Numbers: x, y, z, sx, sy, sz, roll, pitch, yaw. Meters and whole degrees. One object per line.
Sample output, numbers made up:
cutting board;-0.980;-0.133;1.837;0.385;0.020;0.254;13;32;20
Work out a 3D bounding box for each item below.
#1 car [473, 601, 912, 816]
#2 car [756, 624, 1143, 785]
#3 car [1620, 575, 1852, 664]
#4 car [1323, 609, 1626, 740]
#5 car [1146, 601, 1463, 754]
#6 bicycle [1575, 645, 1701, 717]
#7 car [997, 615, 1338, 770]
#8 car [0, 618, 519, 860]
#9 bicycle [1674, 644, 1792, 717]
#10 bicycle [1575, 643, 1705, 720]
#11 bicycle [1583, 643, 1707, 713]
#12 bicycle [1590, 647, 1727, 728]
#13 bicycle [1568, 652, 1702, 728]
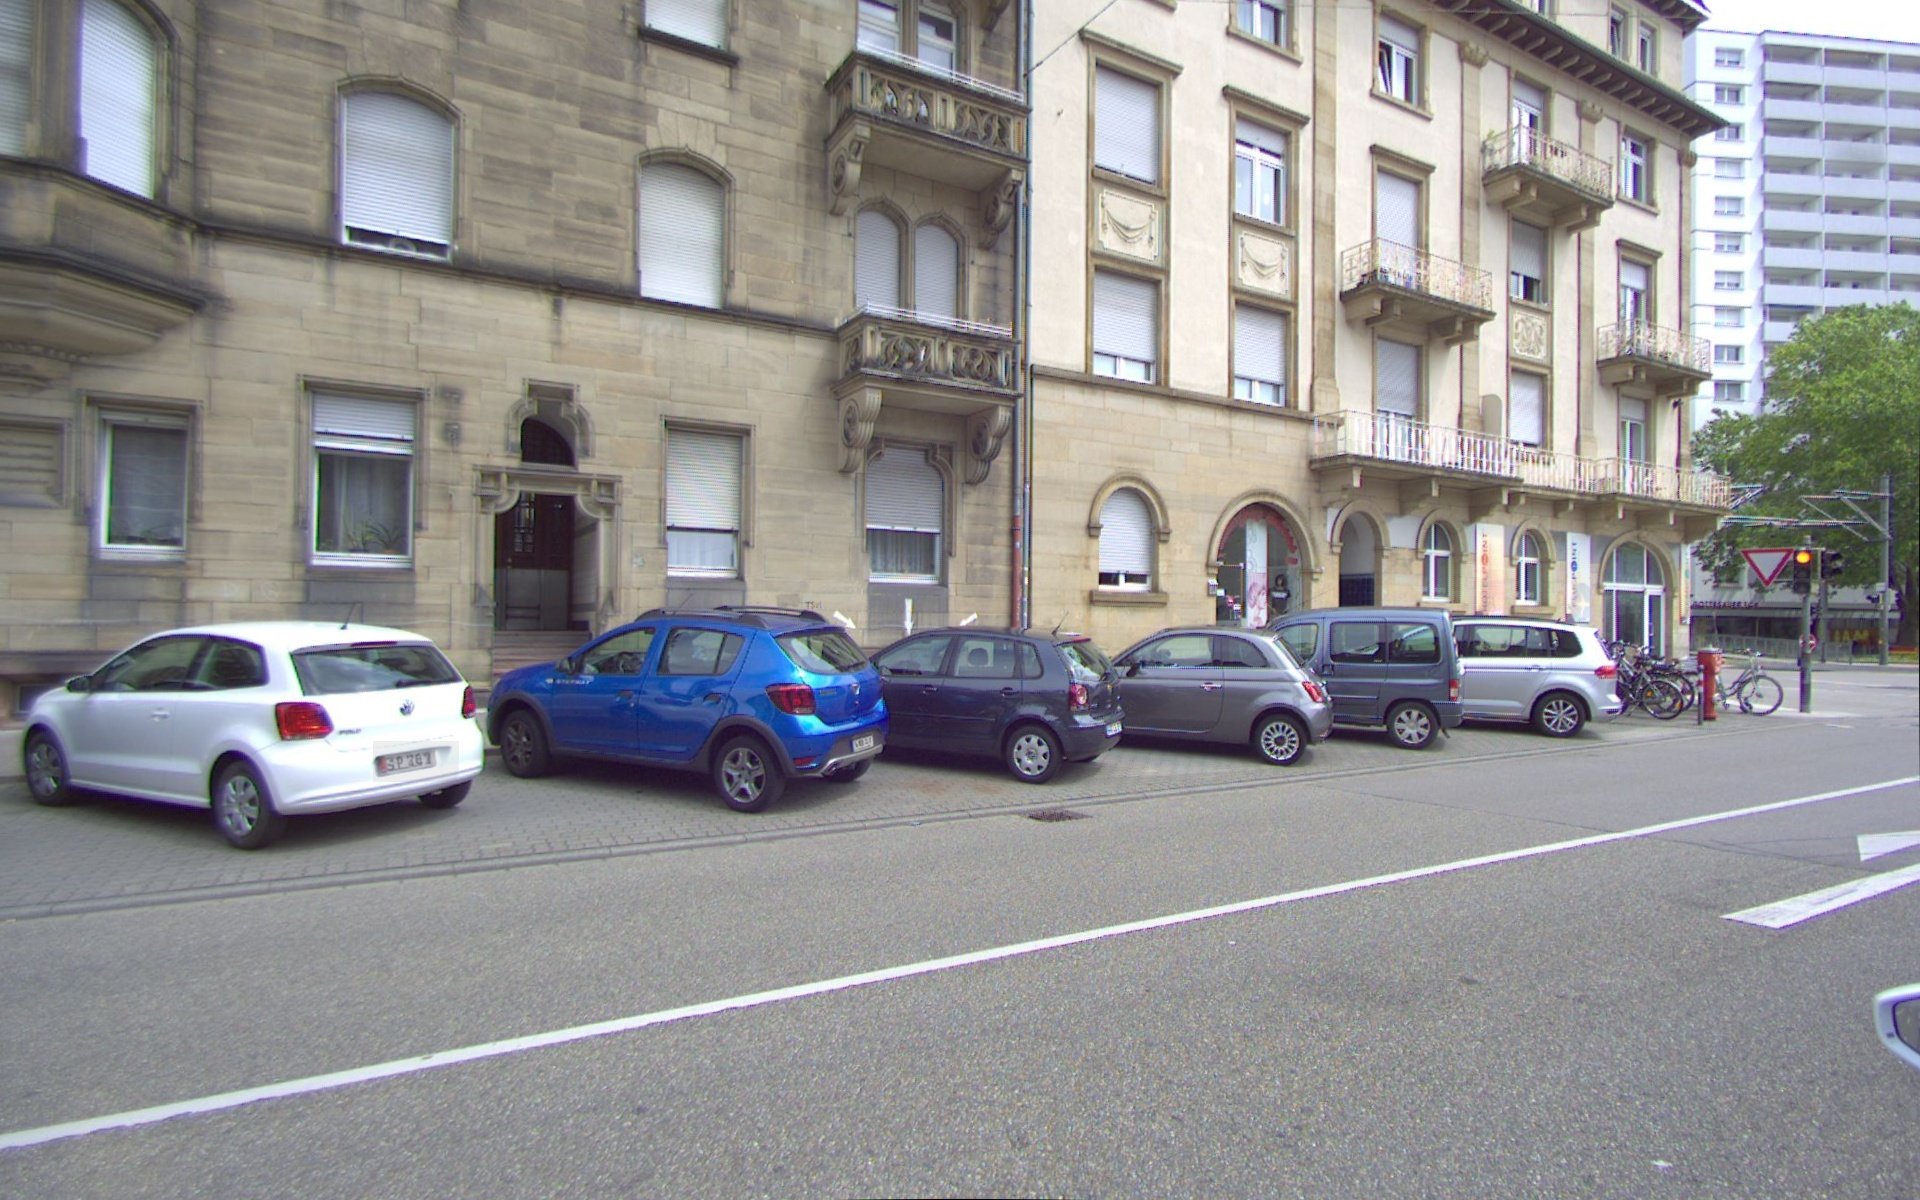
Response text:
car;-2.493;0.866;9.382;3.706;1.673;1.723;0;-1;24
car;-0.104;1.010;10.990;3.830;1.463;1.836;0;-1;25
car;38.140;0.964;50.078;3.389;3.967;9.911;0;-1;-5
car;7.687;1.057;15.422;3.934;1.797;1.796;0;-1;22
car;4.736;0.985;14.033;3.934;1.903;1.796;0;-1;22
bicycle;12.359;1.452;18.363;0.588;1.135;1.796;1;1;-37
car;2.610;1.042;12.560;3.934;1.673;1.796;0;-1;22
car;-5.462;0.899;7.834;3.616;1.501;1.741;0;-1;25
bicycle;14.268;1.465;18.612;0.489;1.182;1.878;2;1;-9
bicycle;11.997;1.408;17.769;0.588;1.182;1.796;1;1;-37
bicycle;12.853;1.438;18.895;0.588;1.135;1.796;1;1;-37
bicycle;11.671;1.427;16.850;0.586;1.135;1.803;1;2;-25
bicycle;11.077;1.450;16.553;0.586;1.135;1.805;1;-1;-23
